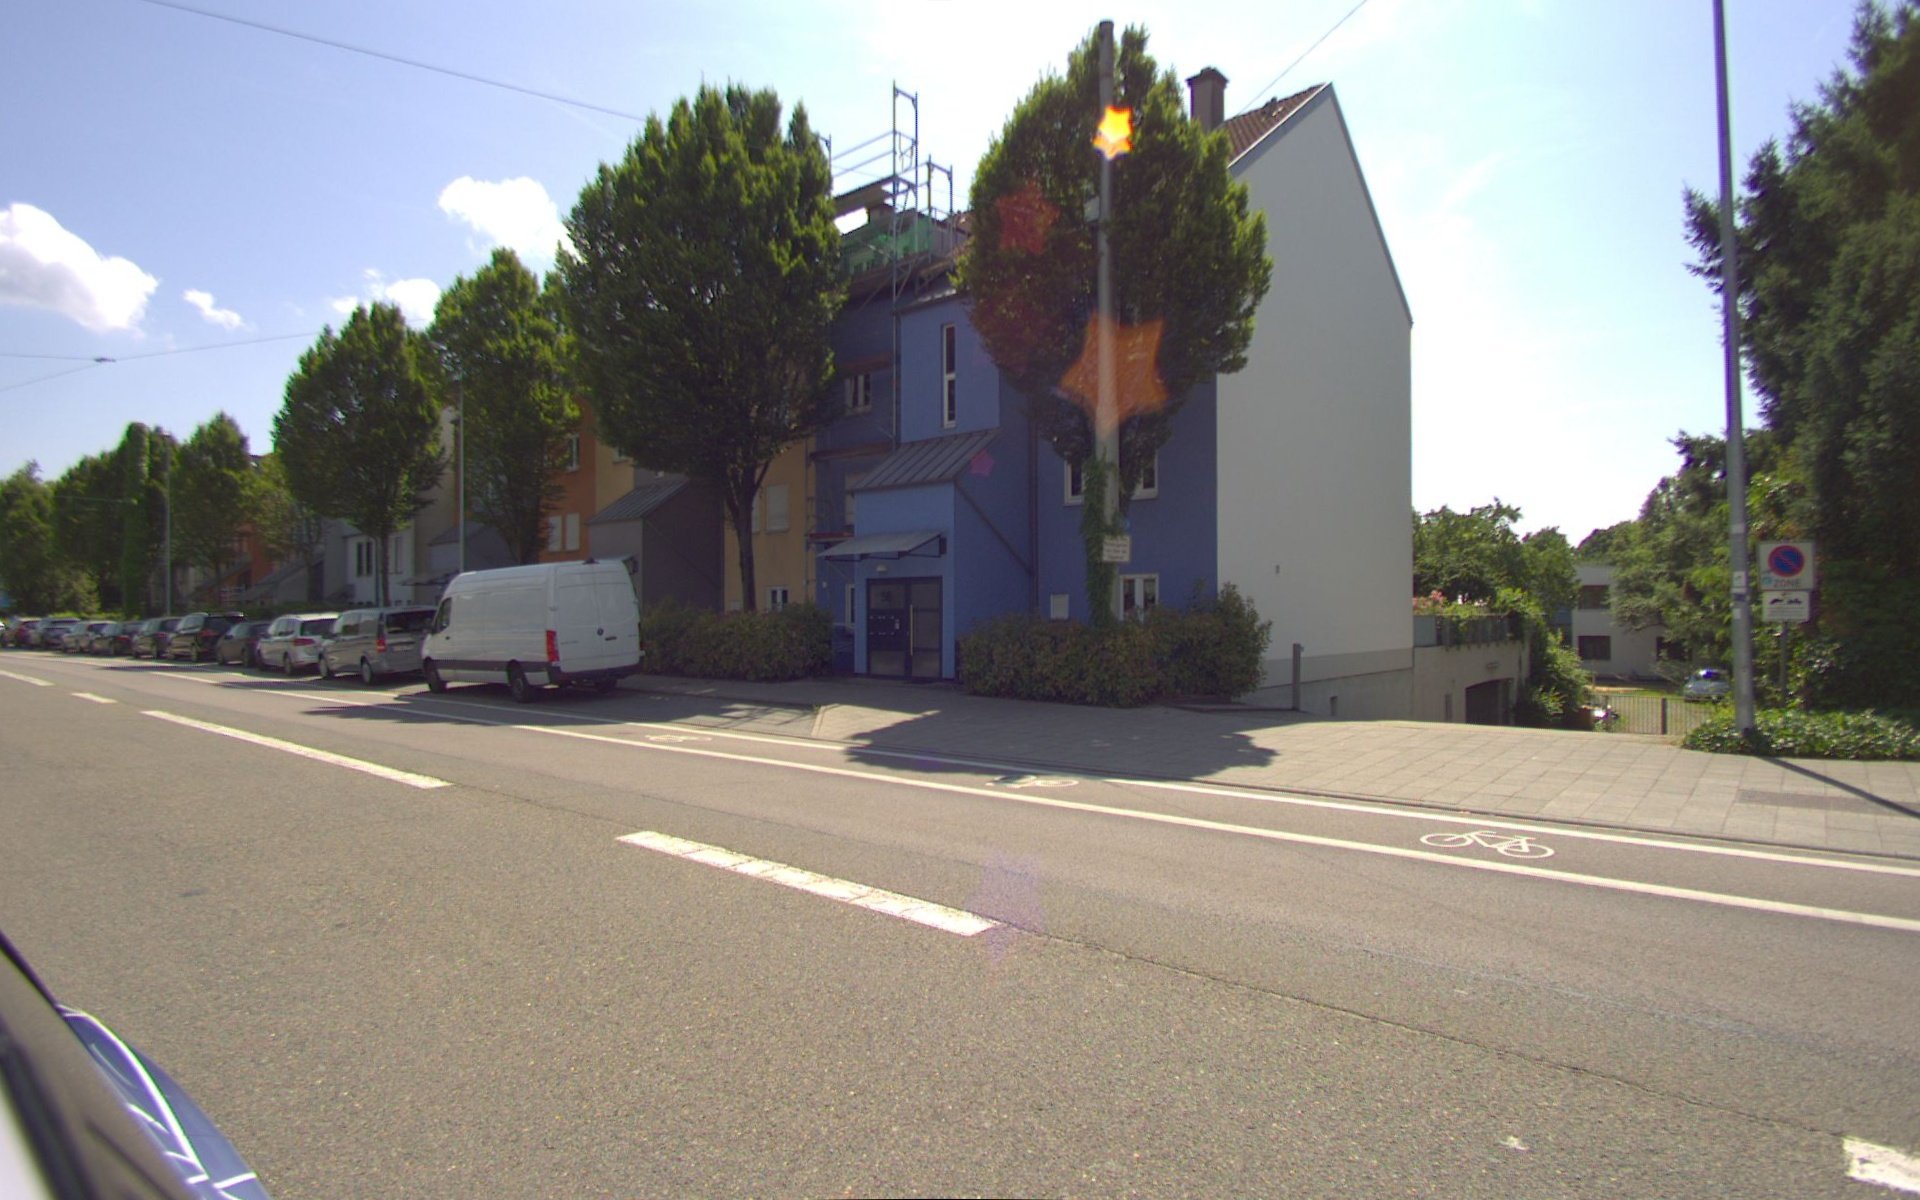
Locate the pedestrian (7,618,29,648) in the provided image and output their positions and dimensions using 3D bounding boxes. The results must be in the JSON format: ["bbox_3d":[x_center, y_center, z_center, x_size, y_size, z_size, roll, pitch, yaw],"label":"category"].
[{"bbox_3d":[-58.159,2.044,62.462,0.695,1.808,0.683,-1,-2,6],"label":"pedestrian"}]

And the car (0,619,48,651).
[{"bbox_3d":[-50.776,1.868,54.330,4.161,1.621,1.642,-1,-1,33],"label":"car"}]

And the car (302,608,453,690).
[{"bbox_3d":[-15.510,1.229,26.796,5.359,1.909,1.788,-1,1,41],"label":"car"}]

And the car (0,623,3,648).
[{"bbox_3d":[-57.752,2.076,59.174,4.383,1.421,1.642,-1,-2,33],"label":"car"}]

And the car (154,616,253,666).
[{"bbox_3d":[-27.867,1.471,37.237,4.881,1.729,1.734,-2,-2,38],"label":"car"}]

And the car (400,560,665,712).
[{"bbox_3d":[-9.265,0.683,21.493,7.033,2.670,2.299,-2,2,42],"label":"car"}]

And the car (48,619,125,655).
[{"bbox_3d":[-41.622,1.718,48.186,4.885,1.519,1.641,0,2,35],"label":"car"}]

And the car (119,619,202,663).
[{"bbox_3d":[-32.044,1.603,40.527,4.279,1.629,1.639,-1,-2,38],"label":"car"}]

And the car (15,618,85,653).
[{"bbox_3d":[-45.952,1.772,51.066,4.677,1.621,1.641,-2,1,36],"label":"car"}]

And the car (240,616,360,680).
[{"bbox_3d":[-19.885,1.389,30.401,4.900,1.765,1.699,-1,0,40],"label":"car"}]

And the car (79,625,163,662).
[{"bbox_3d":[-36.772,1.865,44.321,4.955,1.457,1.726,-1,0,37],"label":"car"}]

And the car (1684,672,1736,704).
[{"bbox_3d":[35.337,4.109,47.657,1.843,1.364,3.948,-1,-4,38],"label":"car"}]

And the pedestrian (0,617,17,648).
[{"bbox_3d":[-59.045,1.999,62.697,0.633,1.937,0.710,0,-2,-14],"label":"pedestrian"}]

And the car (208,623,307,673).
[{"bbox_3d":[-23.470,1.549,33.761,4.082,1.482,1.583,0,0,38],"label":"car"}]
